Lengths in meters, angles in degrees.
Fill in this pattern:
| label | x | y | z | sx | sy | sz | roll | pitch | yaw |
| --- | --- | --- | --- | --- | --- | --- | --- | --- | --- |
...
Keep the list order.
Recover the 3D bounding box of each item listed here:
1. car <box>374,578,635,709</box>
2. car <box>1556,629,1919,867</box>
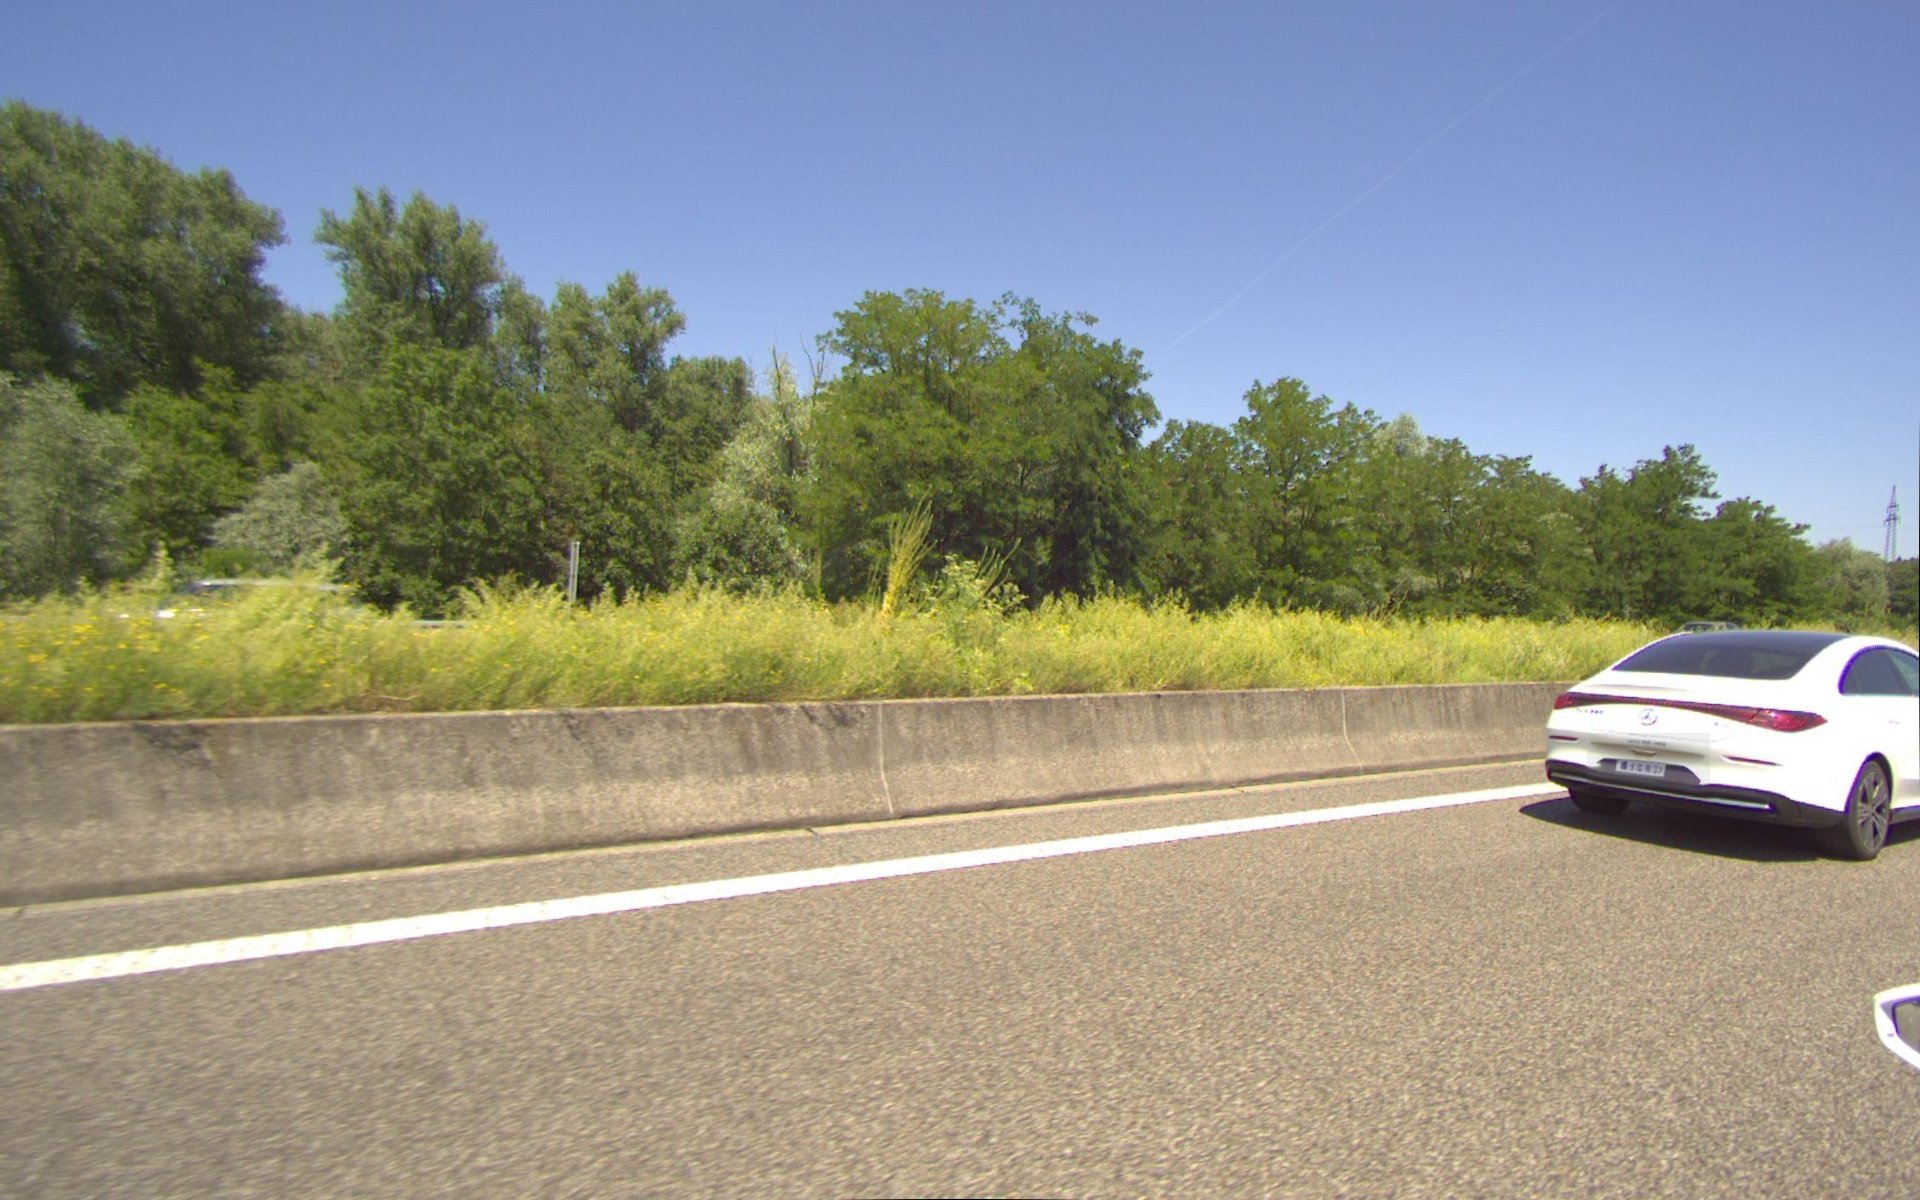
| label | x | y | z | sx | sy | sz | roll | pitch | yaw |
| --- | --- | --- | --- | --- | --- | --- | --- | --- | --- |
| car | -7.954 | 0.728 | 17.598 | 3.954 | 2.040 | 1.984 | 2 | 0 | -31 |
| car | 7.178 | 1.010 | 8.290 | 5.051 | 1.467 | 1.758 | 2 | -2 | -32 |
